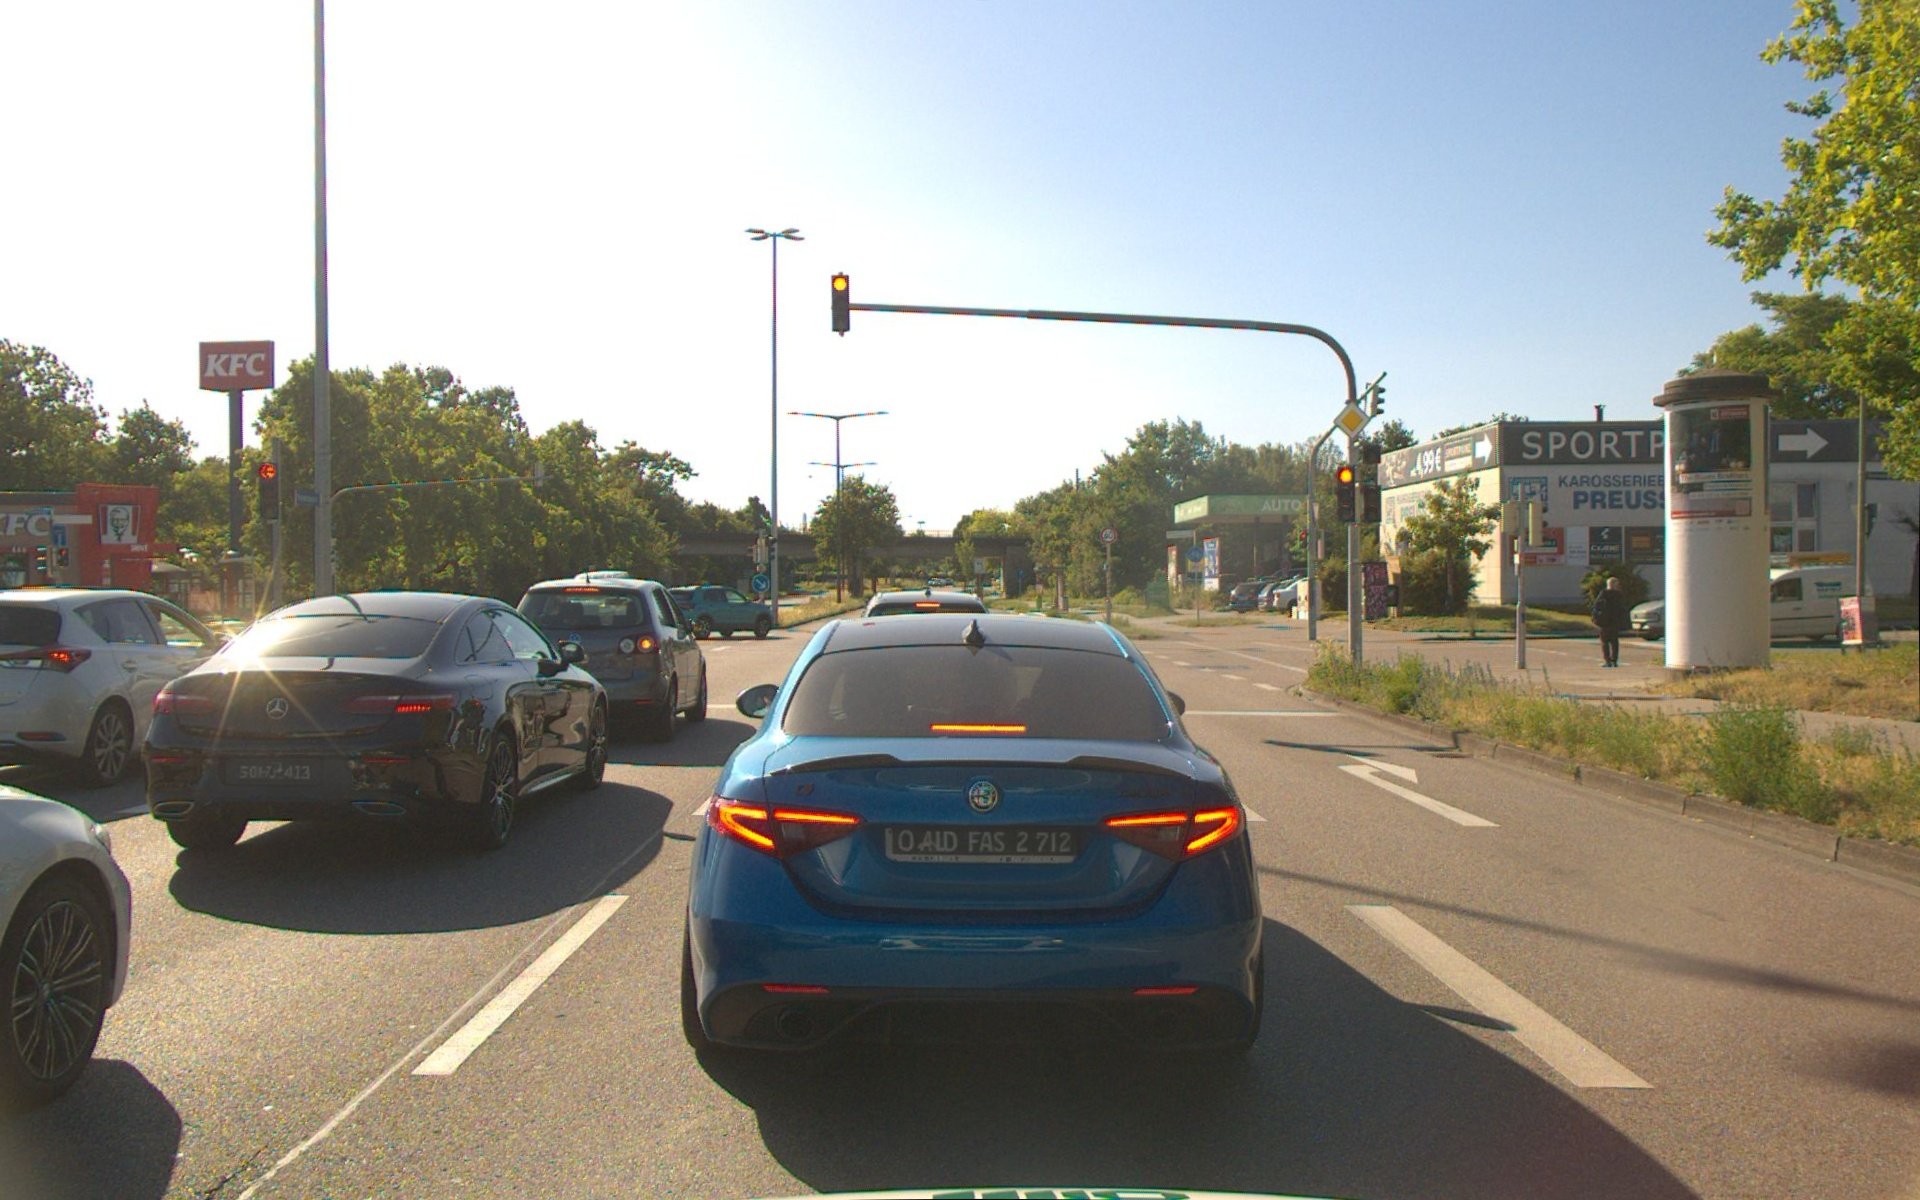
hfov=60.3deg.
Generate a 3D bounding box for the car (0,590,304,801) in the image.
[{"bbox_3d":[-7.164,0.650,13.625,1.819,1.454,4.403,0,0,-1],"label":"car"}]

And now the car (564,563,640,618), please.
[{"bbox_3d":[-16.665,-0.449,77.364,2.382,2.469,5.830,0,1,-1],"label":"car"}]

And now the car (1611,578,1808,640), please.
[{"bbox_3d":[19.756,0.227,43.712,4.318,1.580,1.998,0,0,-4],"label":"car"}]

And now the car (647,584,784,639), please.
[{"bbox_3d":[-7.445,0.317,50.587,1.790,1.622,4.031,0,1,39],"label":"car"}]

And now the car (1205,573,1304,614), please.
[{"bbox_3d":[12.667,-0.265,71.136,3.928,1.736,1.686,0,0,-20],"label":"car"}]

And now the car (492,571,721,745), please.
[{"bbox_3d":[-3.596,0.526,17.467,1.615,1.626,3.931,0,0,-1],"label":"car"}]

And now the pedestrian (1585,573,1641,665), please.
[{"bbox_3d":[12.680,0.357,32.130,0.805,1.752,0.854,0,0,6],"label":"pedestrian"}]

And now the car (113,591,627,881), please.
[{"bbox_3d":[-3.414,0.672,10.552,1.732,1.439,4.460,0,0,-1],"label":"car"}]

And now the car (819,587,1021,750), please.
[{"bbox_3d":[-0.393,0.611,17.037,1.828,1.475,3.931,0,0,-1],"label":"car"}]

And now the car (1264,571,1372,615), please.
[{"bbox_3d":[14.339,-0.276,66.307,3.923,1.736,1.687,0,0,-17],"label":"car"}]

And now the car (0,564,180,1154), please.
[{"bbox_3d":[-3.348,0.685,3.078,1.732,1.535,4.460,0,0,-1],"label":"car"}]

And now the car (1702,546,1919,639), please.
[{"bbox_3d":[20.599,-0.187,40.144,4.318,2.183,1.998,0,0,-4],"label":"car"}]

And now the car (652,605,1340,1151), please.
[{"bbox_3d":[0.072,0.749,6.379,1.828,1.409,3.931,0,0,-1],"label":"car"}]

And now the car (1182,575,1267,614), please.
[{"bbox_3d":[11.871,-0.260,74.315,3.428,1.736,1.688,0,0,-17],"label":"car"}]
